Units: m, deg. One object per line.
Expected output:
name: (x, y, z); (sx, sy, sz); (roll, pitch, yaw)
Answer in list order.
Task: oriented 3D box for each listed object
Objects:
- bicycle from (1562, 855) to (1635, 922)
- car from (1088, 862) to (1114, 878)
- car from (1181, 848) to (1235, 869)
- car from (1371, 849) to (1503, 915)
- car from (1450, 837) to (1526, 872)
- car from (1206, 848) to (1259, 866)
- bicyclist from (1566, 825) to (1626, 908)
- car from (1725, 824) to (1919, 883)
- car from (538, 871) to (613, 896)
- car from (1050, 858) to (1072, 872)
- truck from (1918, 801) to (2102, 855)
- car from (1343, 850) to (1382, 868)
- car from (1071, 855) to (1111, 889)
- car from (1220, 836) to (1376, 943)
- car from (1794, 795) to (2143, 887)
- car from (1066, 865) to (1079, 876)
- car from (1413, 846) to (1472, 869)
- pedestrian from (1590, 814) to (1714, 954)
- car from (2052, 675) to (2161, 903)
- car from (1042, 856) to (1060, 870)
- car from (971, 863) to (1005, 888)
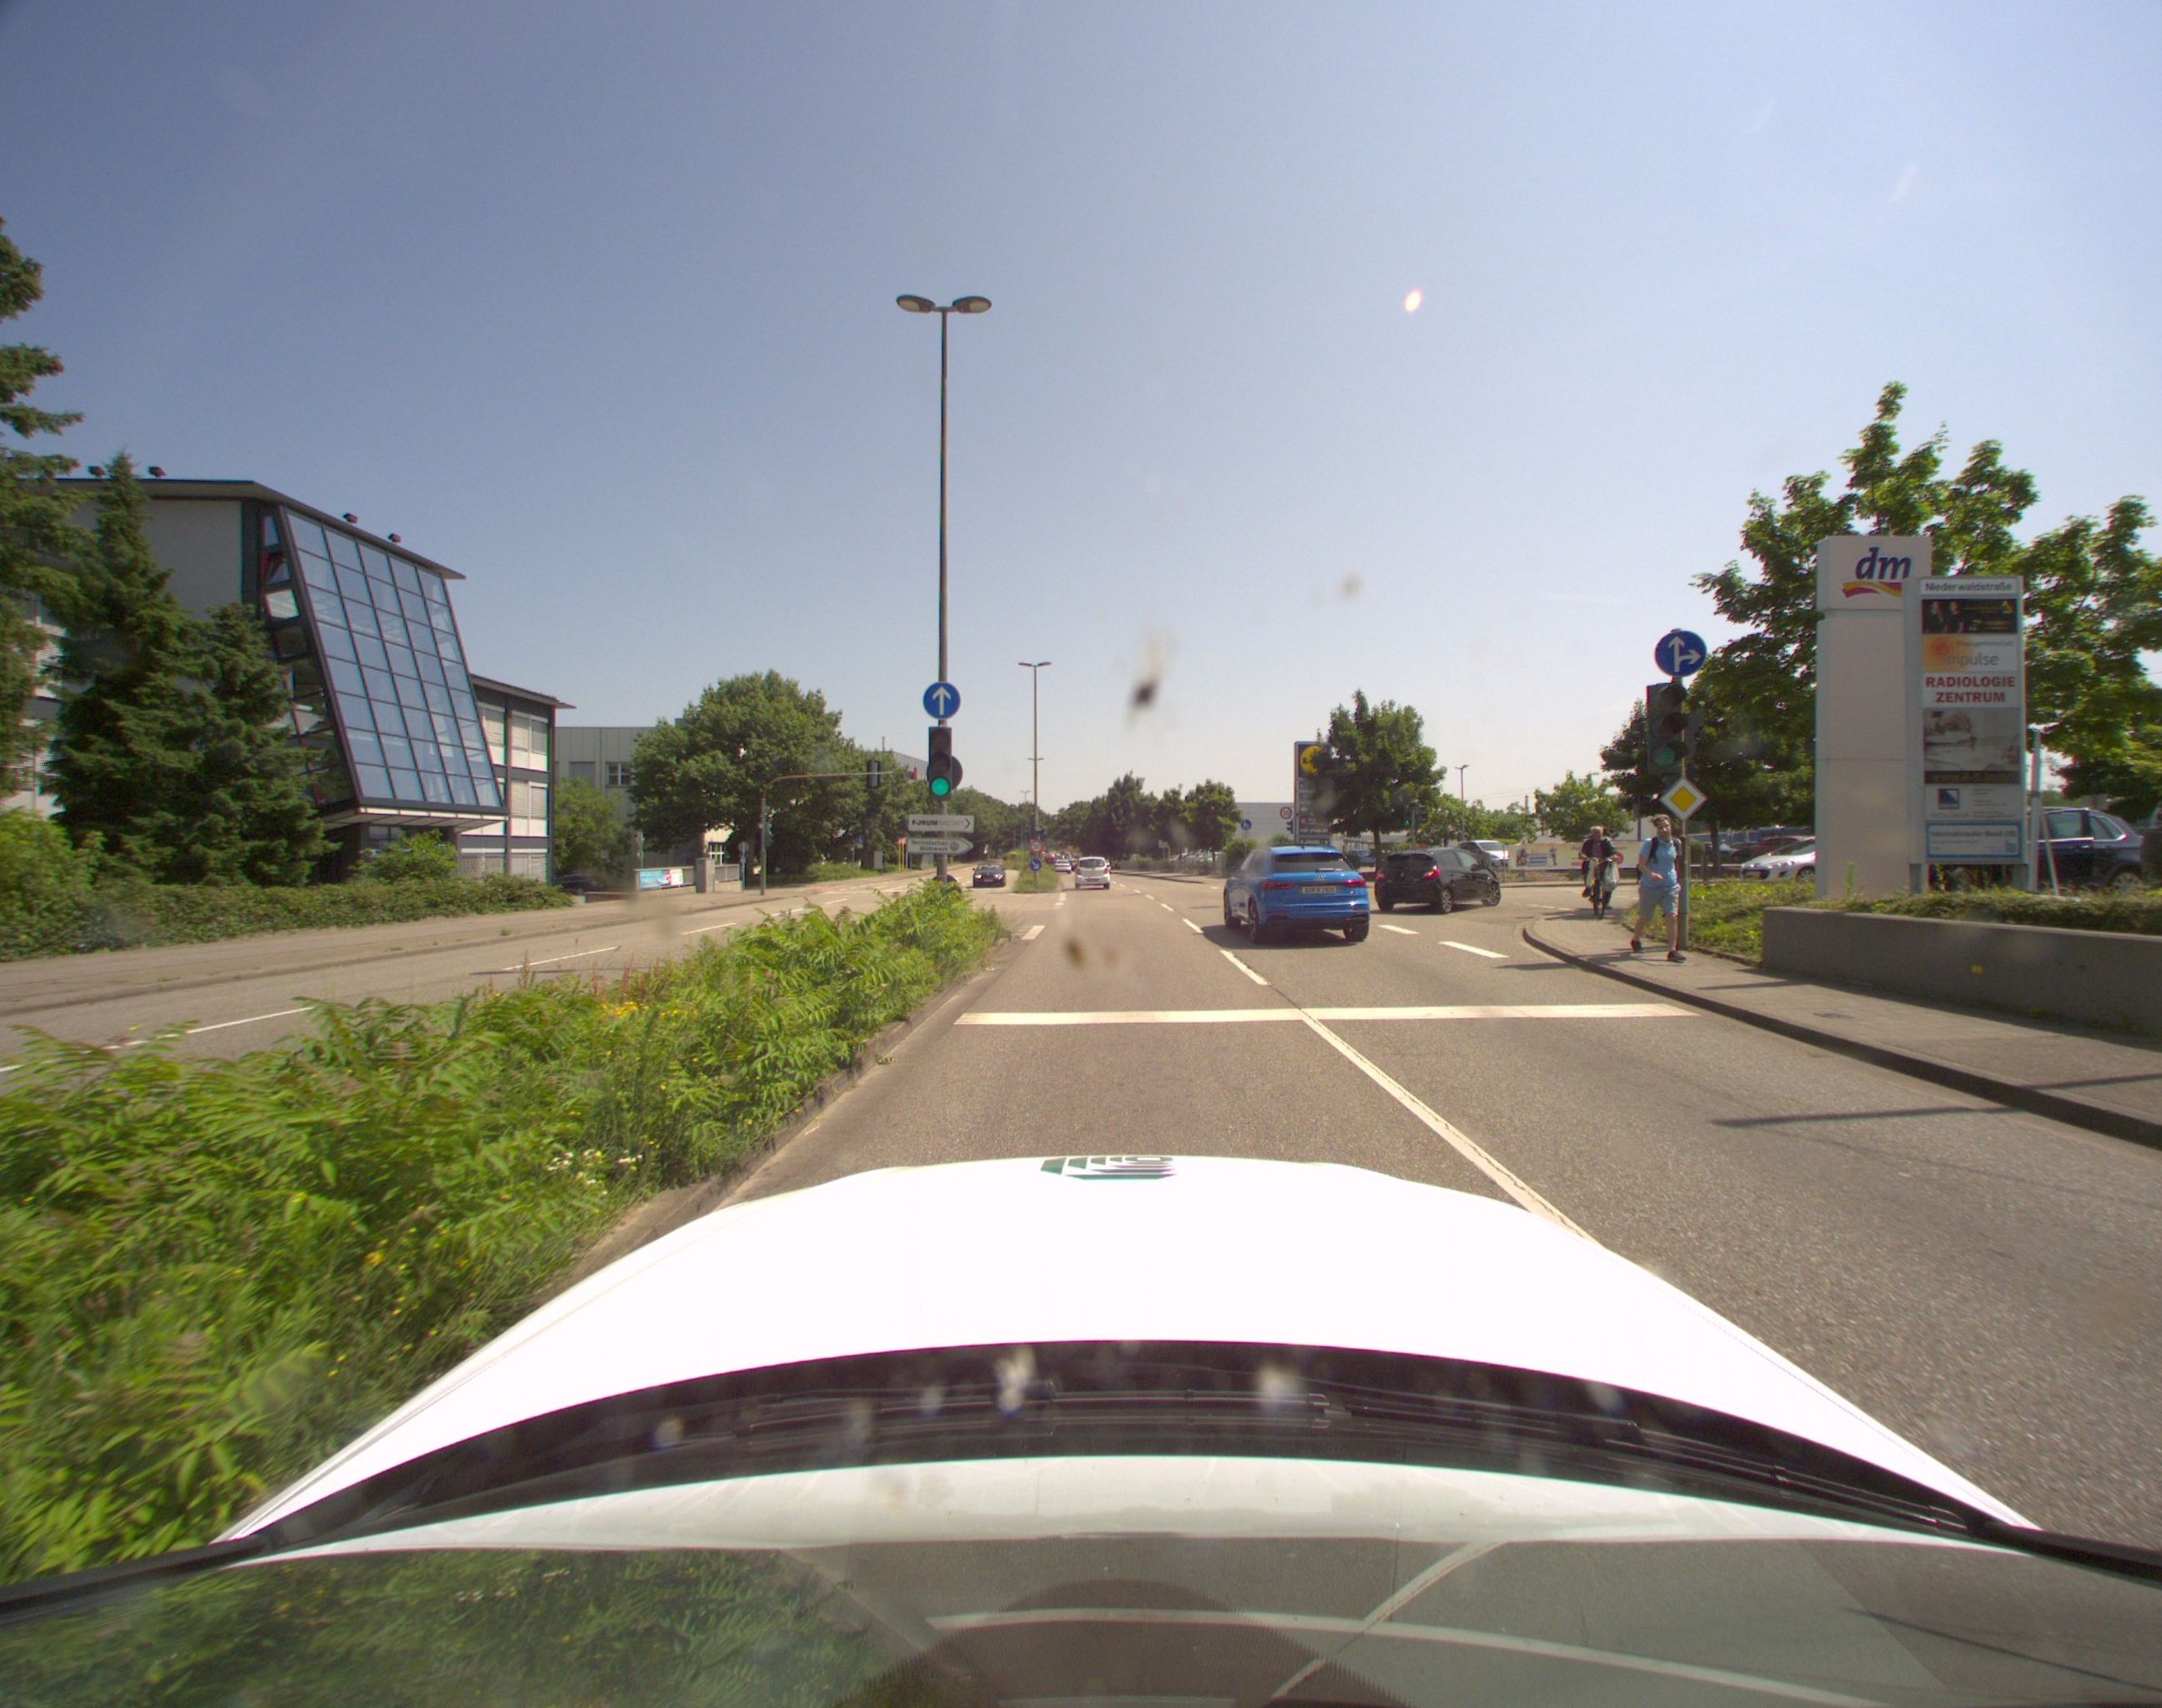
bicycle: (9.496, 0.605, 15.003); (0.751, 1.133, 1.917); (1, -1, 20)
car: (1.899, 1.483, 78.073); (1.864, 1.473, 3.990); (1, -1, -7)
car: (11.558, 0.411, 74.522); (4.608, 1.924, 1.824); (0, 0, -5)
car: (8.525, 0.608, 19.416); (3.450, 1.401, 1.601); (-1, 0, -42)
car: (18.440, 0.004, 37.081); (1.417, 1.438, 3.528); (-3, 0, -5)
car: (12.501, 0.236, 67.331); (3.989, 1.421, 1.695); (0, 0, -5)
bicyclist: (9.494, 0.219, 15.052); (0.767, 1.464, 1.096); (1, -1, 22)
car: (22.441, -0.004, 24.797); (4.233, 1.618, 1.807); (-2, -1, 0)
car: (-35.425, 2.045, 57.098); (3.977, 1.596, 1.918); (1, -1, -2)
car: (-2.028, 1.109, 81.558); (1.882, 1.354, 3.991); (1, -1, -6)
truck: (73.204, -1.876, 64.690); (2.843, 3.838, 10.023); (-2, 0, -2)
car: (22.367, 0.397, 64.868); (1.619, 1.394, 3.711); (-2, 0, -4)
car: (0.431, 0.853, 39.100); (1.635, 1.552, 3.320); (-1, -1, -4)
car: (3.671, 0.550, 14.594); (1.801, 1.593, 4.352); (-1, 0, 3)
car: (14.444, -0.198, 13.400); (3.981, 1.339, 1.860); (-1, -1, -5)
car: (-1.159, 2.223, 108.689); (1.439, 1.348, 3.453); (-1, 0, -5)
car: (23.423, 0.244, 52.942); (1.732, 1.394, 4.074); (-2, -1, -4)
pedestrian: (7.010, 0.365, 10.058); (0.825, 1.626, 1.005); (1, -2, 1)
car: (10.832, -0.415, 6.041); (4.679, 1.798, 2.182); (2, 0, 0)
car: (-3.505, 1.009, 95.491); (1.882, 1.608, 3.992); (-1, 0, -5)
car: (-5.162, 1.176, 45.686); (1.726, 1.323, 4.142); (-1, -1, -5)
